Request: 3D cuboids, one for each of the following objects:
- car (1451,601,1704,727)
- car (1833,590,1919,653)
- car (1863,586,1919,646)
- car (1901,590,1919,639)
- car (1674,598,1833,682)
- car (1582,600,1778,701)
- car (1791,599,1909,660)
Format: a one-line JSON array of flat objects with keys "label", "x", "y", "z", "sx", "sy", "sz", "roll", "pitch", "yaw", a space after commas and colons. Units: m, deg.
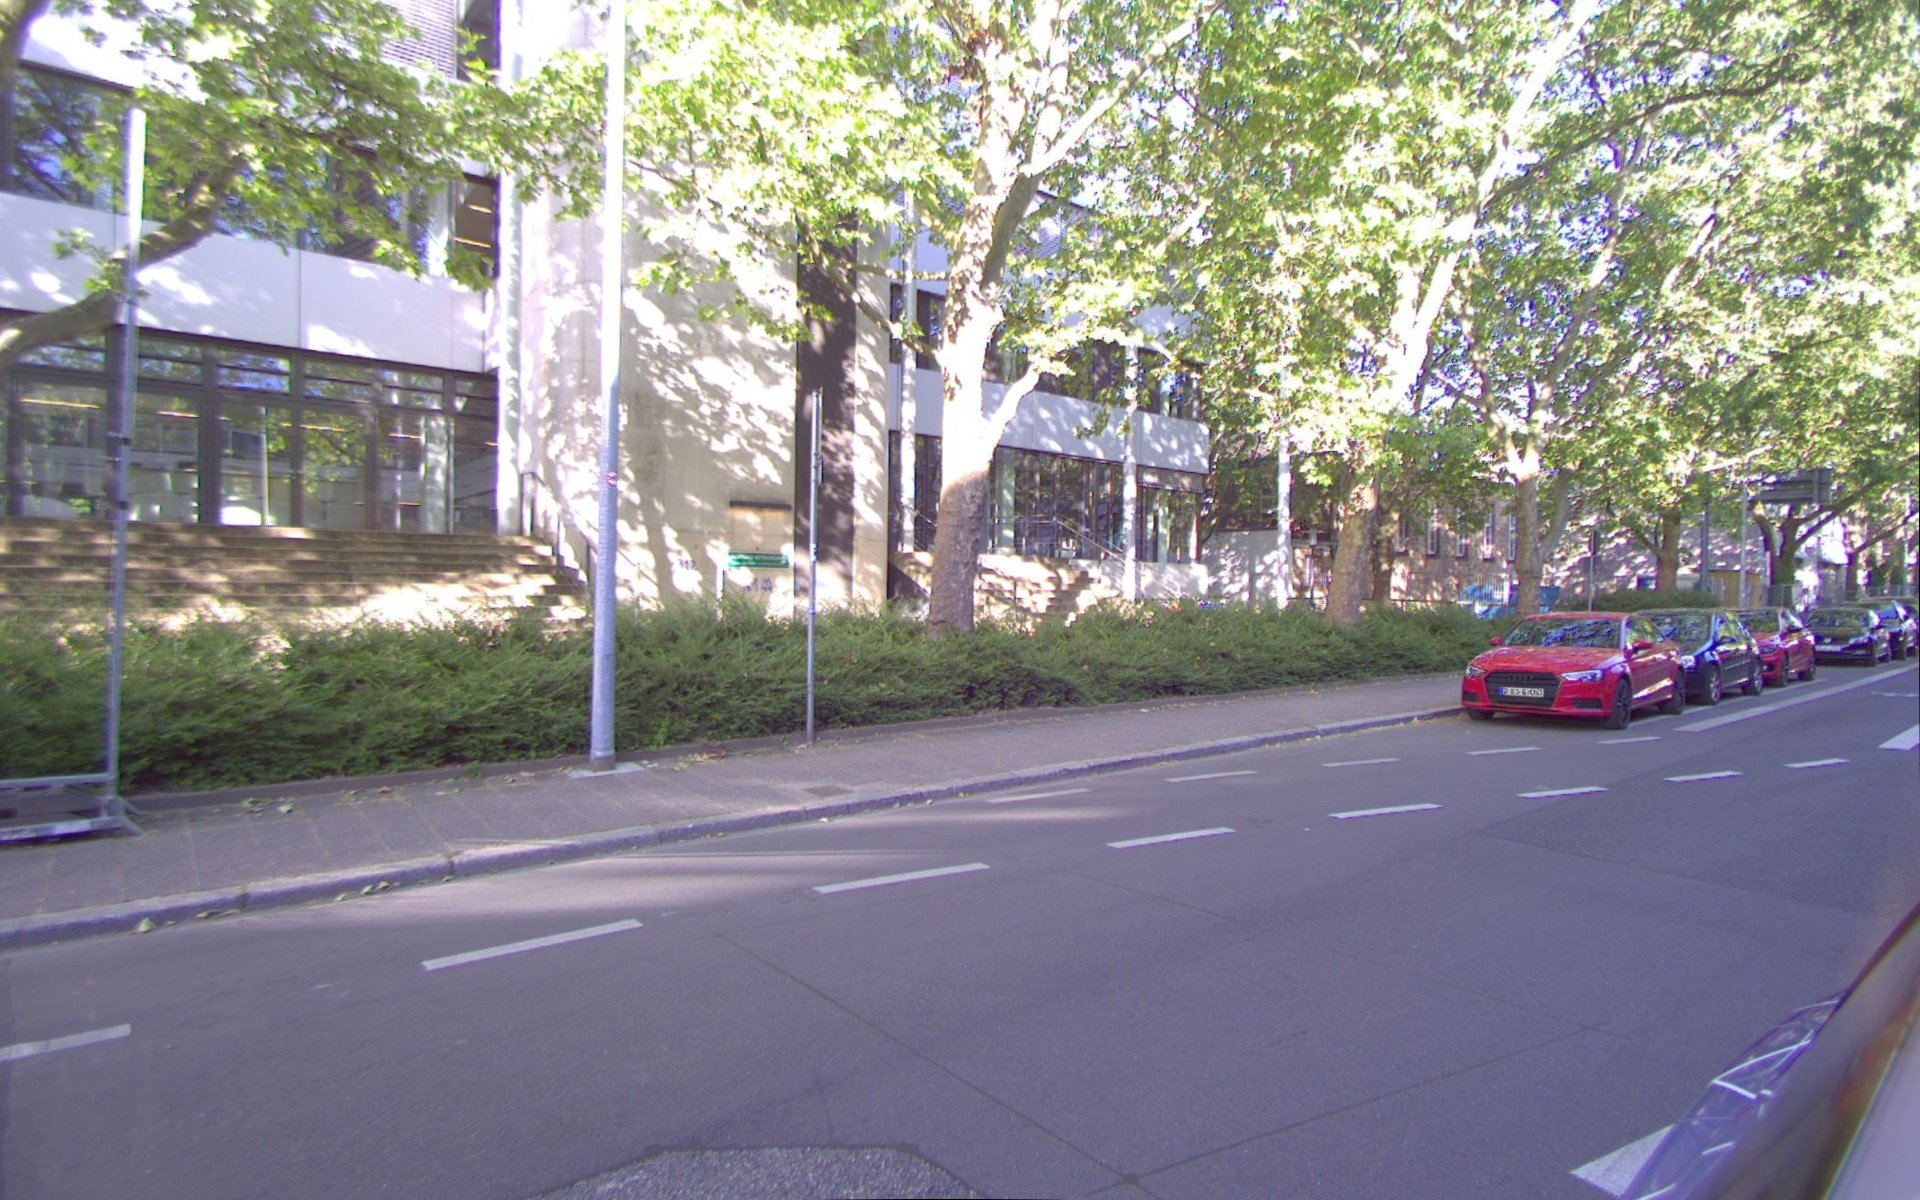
[{"label": "car", "x": 8.287, "y": 0.742, "z": 13.456, "sx": 3.930, "sy": 1.427, "sz": 1.753, "roll": 0, "pitch": -1, "yaw": -41}, {"label": "car", "x": 26.726, "y": 0.586, "z": 29.188, "sx": 4.101, "sy": 1.674, "sz": 1.753, "roll": 0, "pitch": -1, "yaw": -41}, {"label": "car", "x": 30.983, "y": 0.486, "z": 32.979, "sx": 4.370, "sy": 1.843, "sz": 1.753, "roll": 0, "pitch": -1, "yaw": -41}, {"label": "car", "x": 36.206, "y": 0.516, "z": 37.275, "sx": 4.370, "sy": 1.750, "sz": 1.753, "roll": 0, "pitch": -1, "yaw": -41}, {"label": "car", "x": 15.714, "y": 0.722, "z": 19.977, "sx": 3.841, "sy": 1.486, "sz": 1.753, "roll": 0, "pitch": -1, "yaw": -41}, {"label": "car", "x": 11.863, "y": 0.740, "z": 16.600, "sx": 3.841, "sy": 1.451, "sz": 1.753, "roll": 0, "pitch": -1, "yaw": -41}, {"label": "car", "x": 22.959, "y": 0.717, "z": 26.076, "sx": 3.841, "sy": 1.451, "sz": 1.753, "roll": 0, "pitch": -1, "yaw": -41}]
